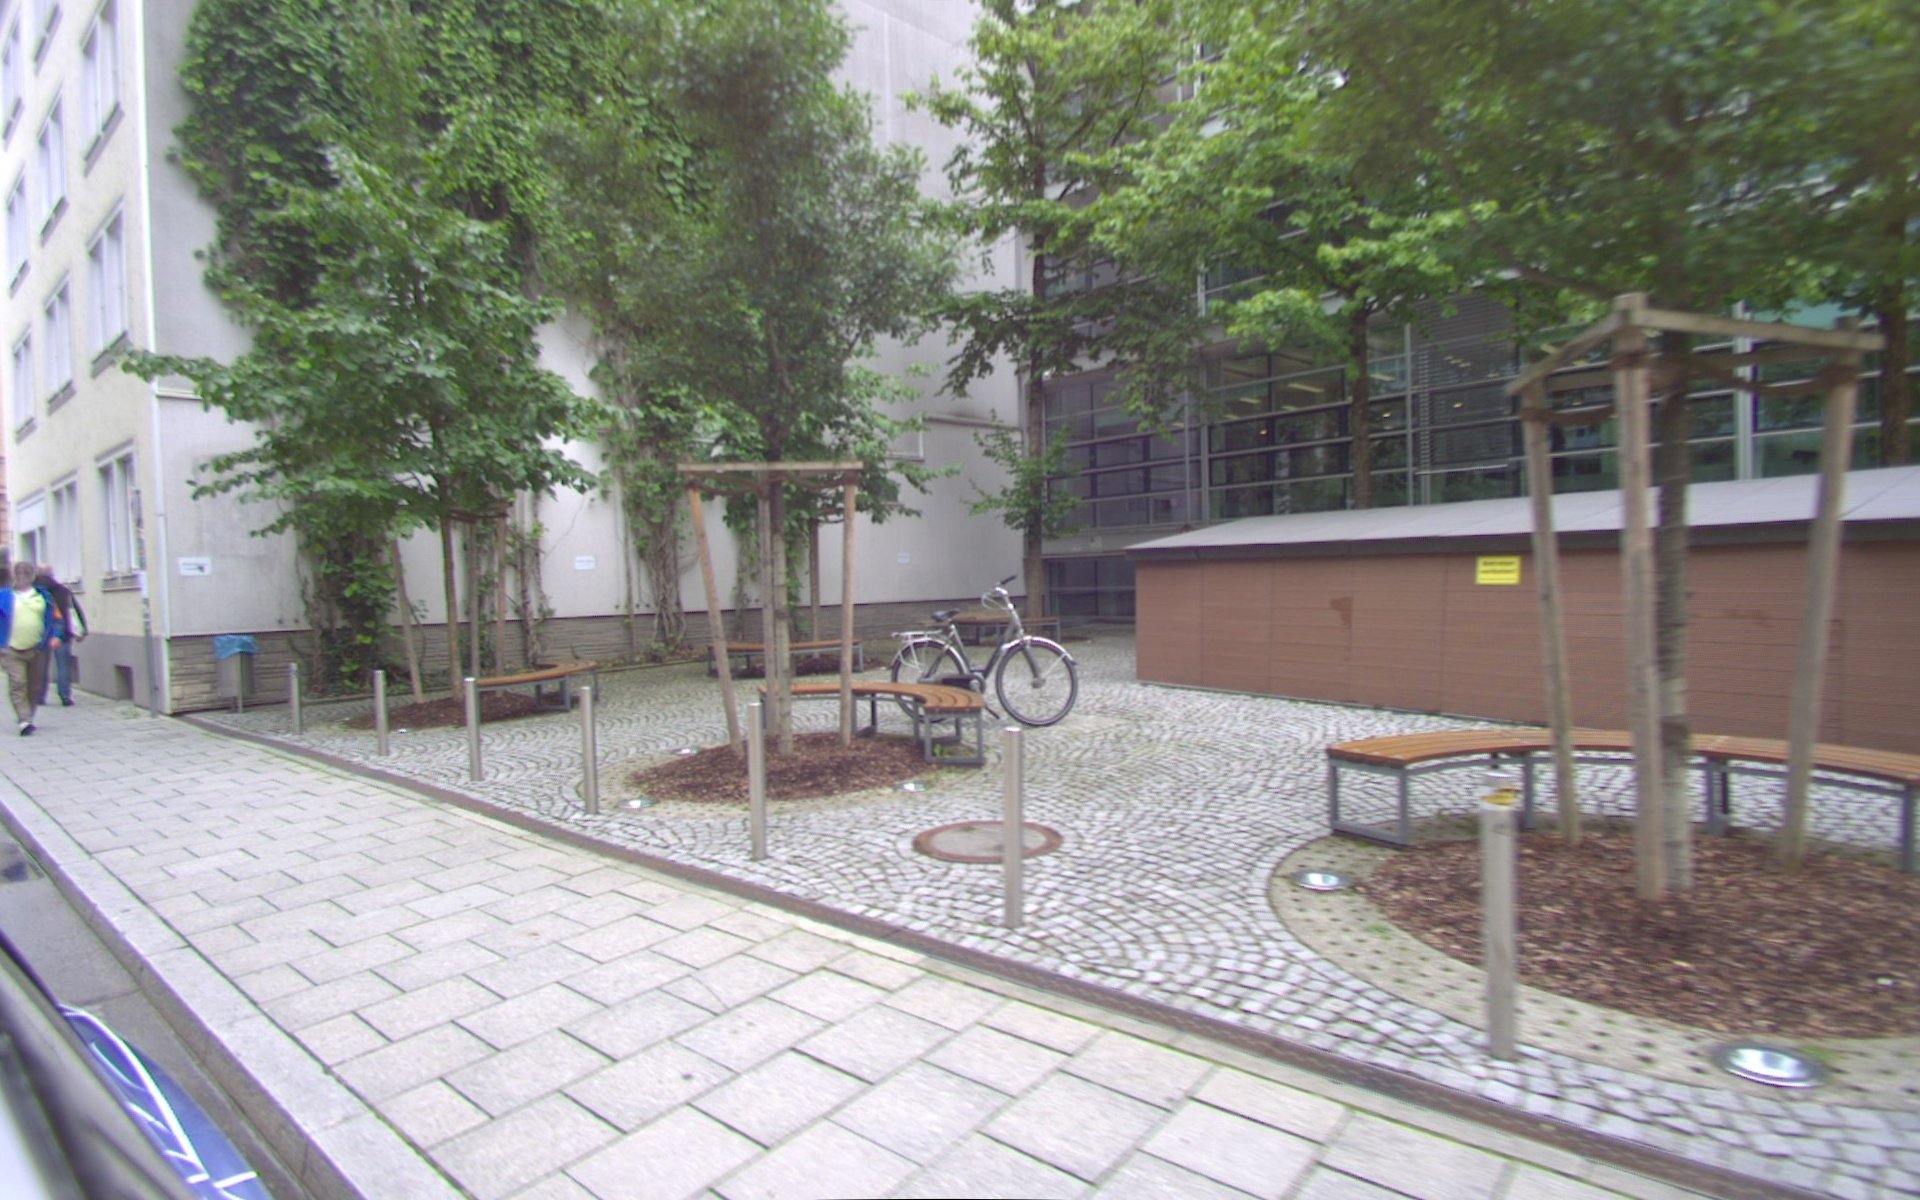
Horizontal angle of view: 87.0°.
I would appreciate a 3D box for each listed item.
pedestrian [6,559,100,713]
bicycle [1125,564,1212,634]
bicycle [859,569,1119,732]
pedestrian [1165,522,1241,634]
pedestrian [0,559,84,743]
[{"bbox_3d":[-11.855,0.443,13.229,0.879,1.917,0.735,-1,2,42],"label":"pedestrian"},{"bbox_3d":[3.677,-0.039,17.799,1.700,1.151,0.603,-3,1,-43],"label":"bicycle"},{"bbox_3d":[0.231,0.394,8.352,1.986,1.217,0.708,-2,2,24],"label":"bicycle"},{"bbox_3d":[3.991,-0.356,16.635,0.944,1.783,0.681,-1,1,44],"label":"pedestrian"},{"bbox_3d":[-10.013,0.523,10.782,0.974,1.858,0.849,-1,2,43],"label":"pedestrian"}]
